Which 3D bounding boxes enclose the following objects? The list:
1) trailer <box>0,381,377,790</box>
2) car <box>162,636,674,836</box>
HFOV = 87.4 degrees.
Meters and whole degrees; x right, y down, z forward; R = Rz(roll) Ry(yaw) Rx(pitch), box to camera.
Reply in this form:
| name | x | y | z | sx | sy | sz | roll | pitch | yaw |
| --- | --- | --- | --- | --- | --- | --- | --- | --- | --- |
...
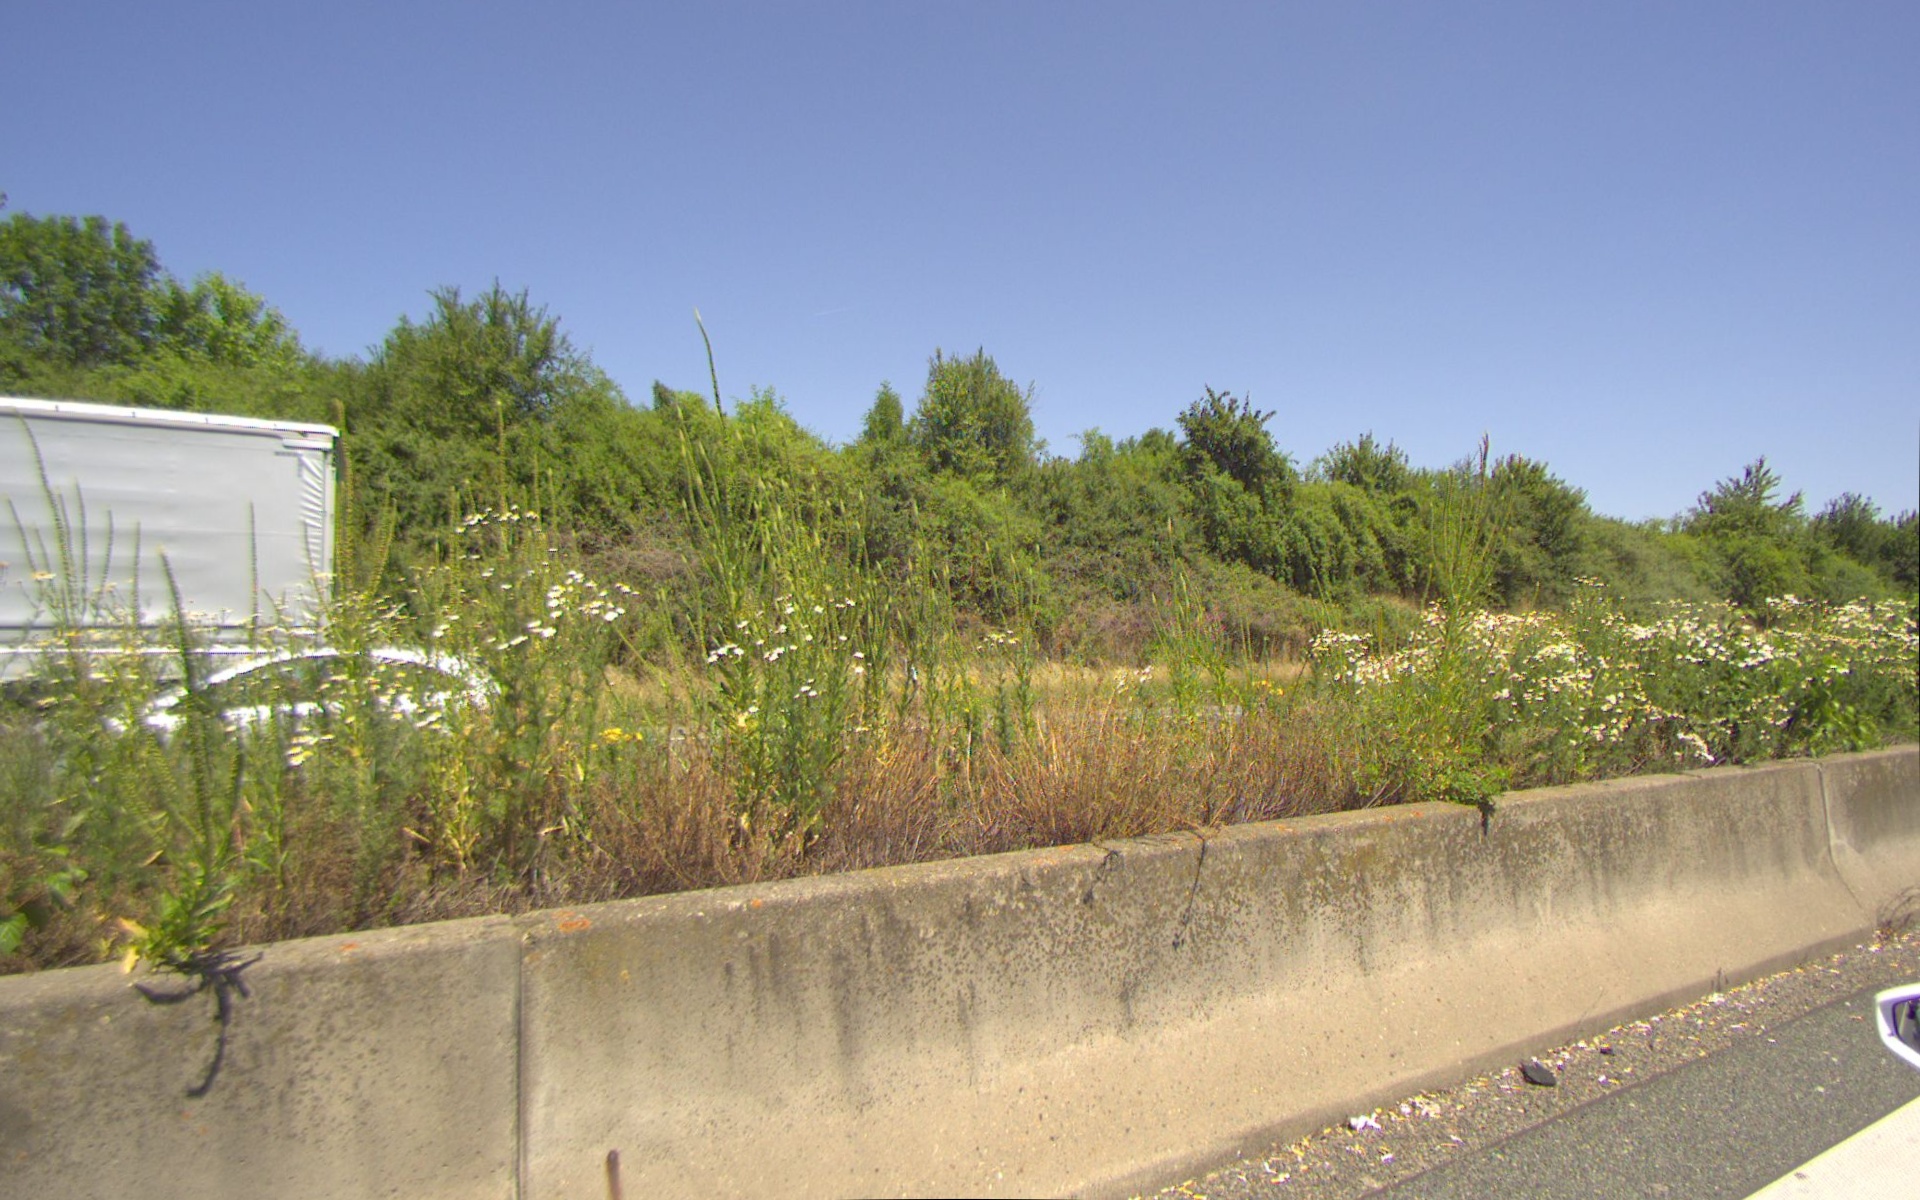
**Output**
| name | x | y | z | sx | sy | sz | roll | pitch | yaw |
| --- | --- | --- | --- | --- | --- | --- | --- | --- | --- |
| trailer | -13.778 | -0.148 | 9.801 | 13.853 | 4.220 | 3.004 | 1 | -4 | -30 |
| car | -4.938 | 1.128 | 9.604 | 3.953 | 1.553 | 1.695 | 1 | -2 | -30 |
